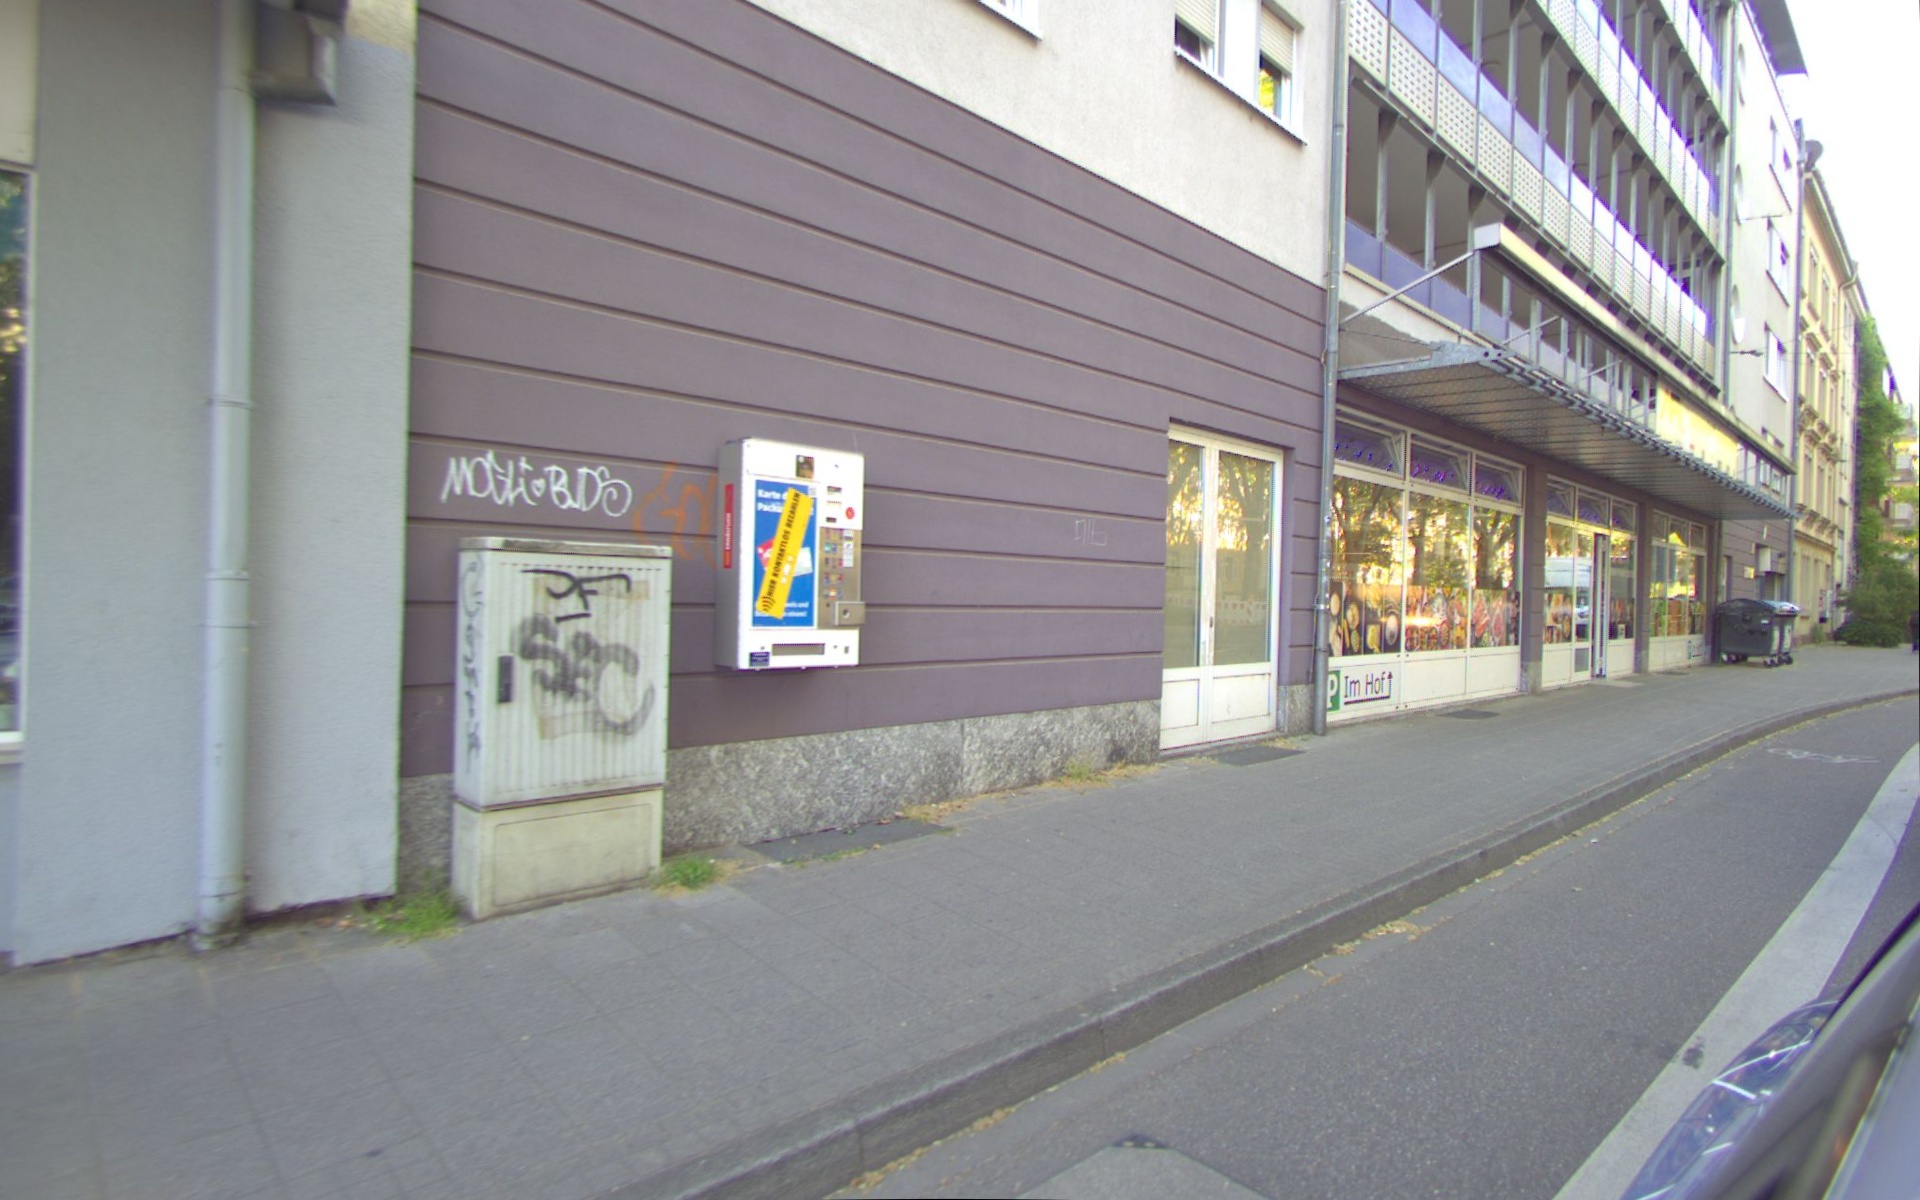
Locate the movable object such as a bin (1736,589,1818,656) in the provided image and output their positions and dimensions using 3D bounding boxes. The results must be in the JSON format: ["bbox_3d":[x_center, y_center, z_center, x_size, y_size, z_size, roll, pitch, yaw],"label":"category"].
[{"bbox_3d":[18.617,0.489,23.062,1.348,1.427,1.203,1,1,-41],"label":"movable object such as a bin"}]

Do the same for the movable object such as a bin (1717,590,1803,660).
[{"bbox_3d":[17.174,0.509,21.727,1.348,1.427,1.203,1,1,-41],"label":"movable object such as a bin"}]
